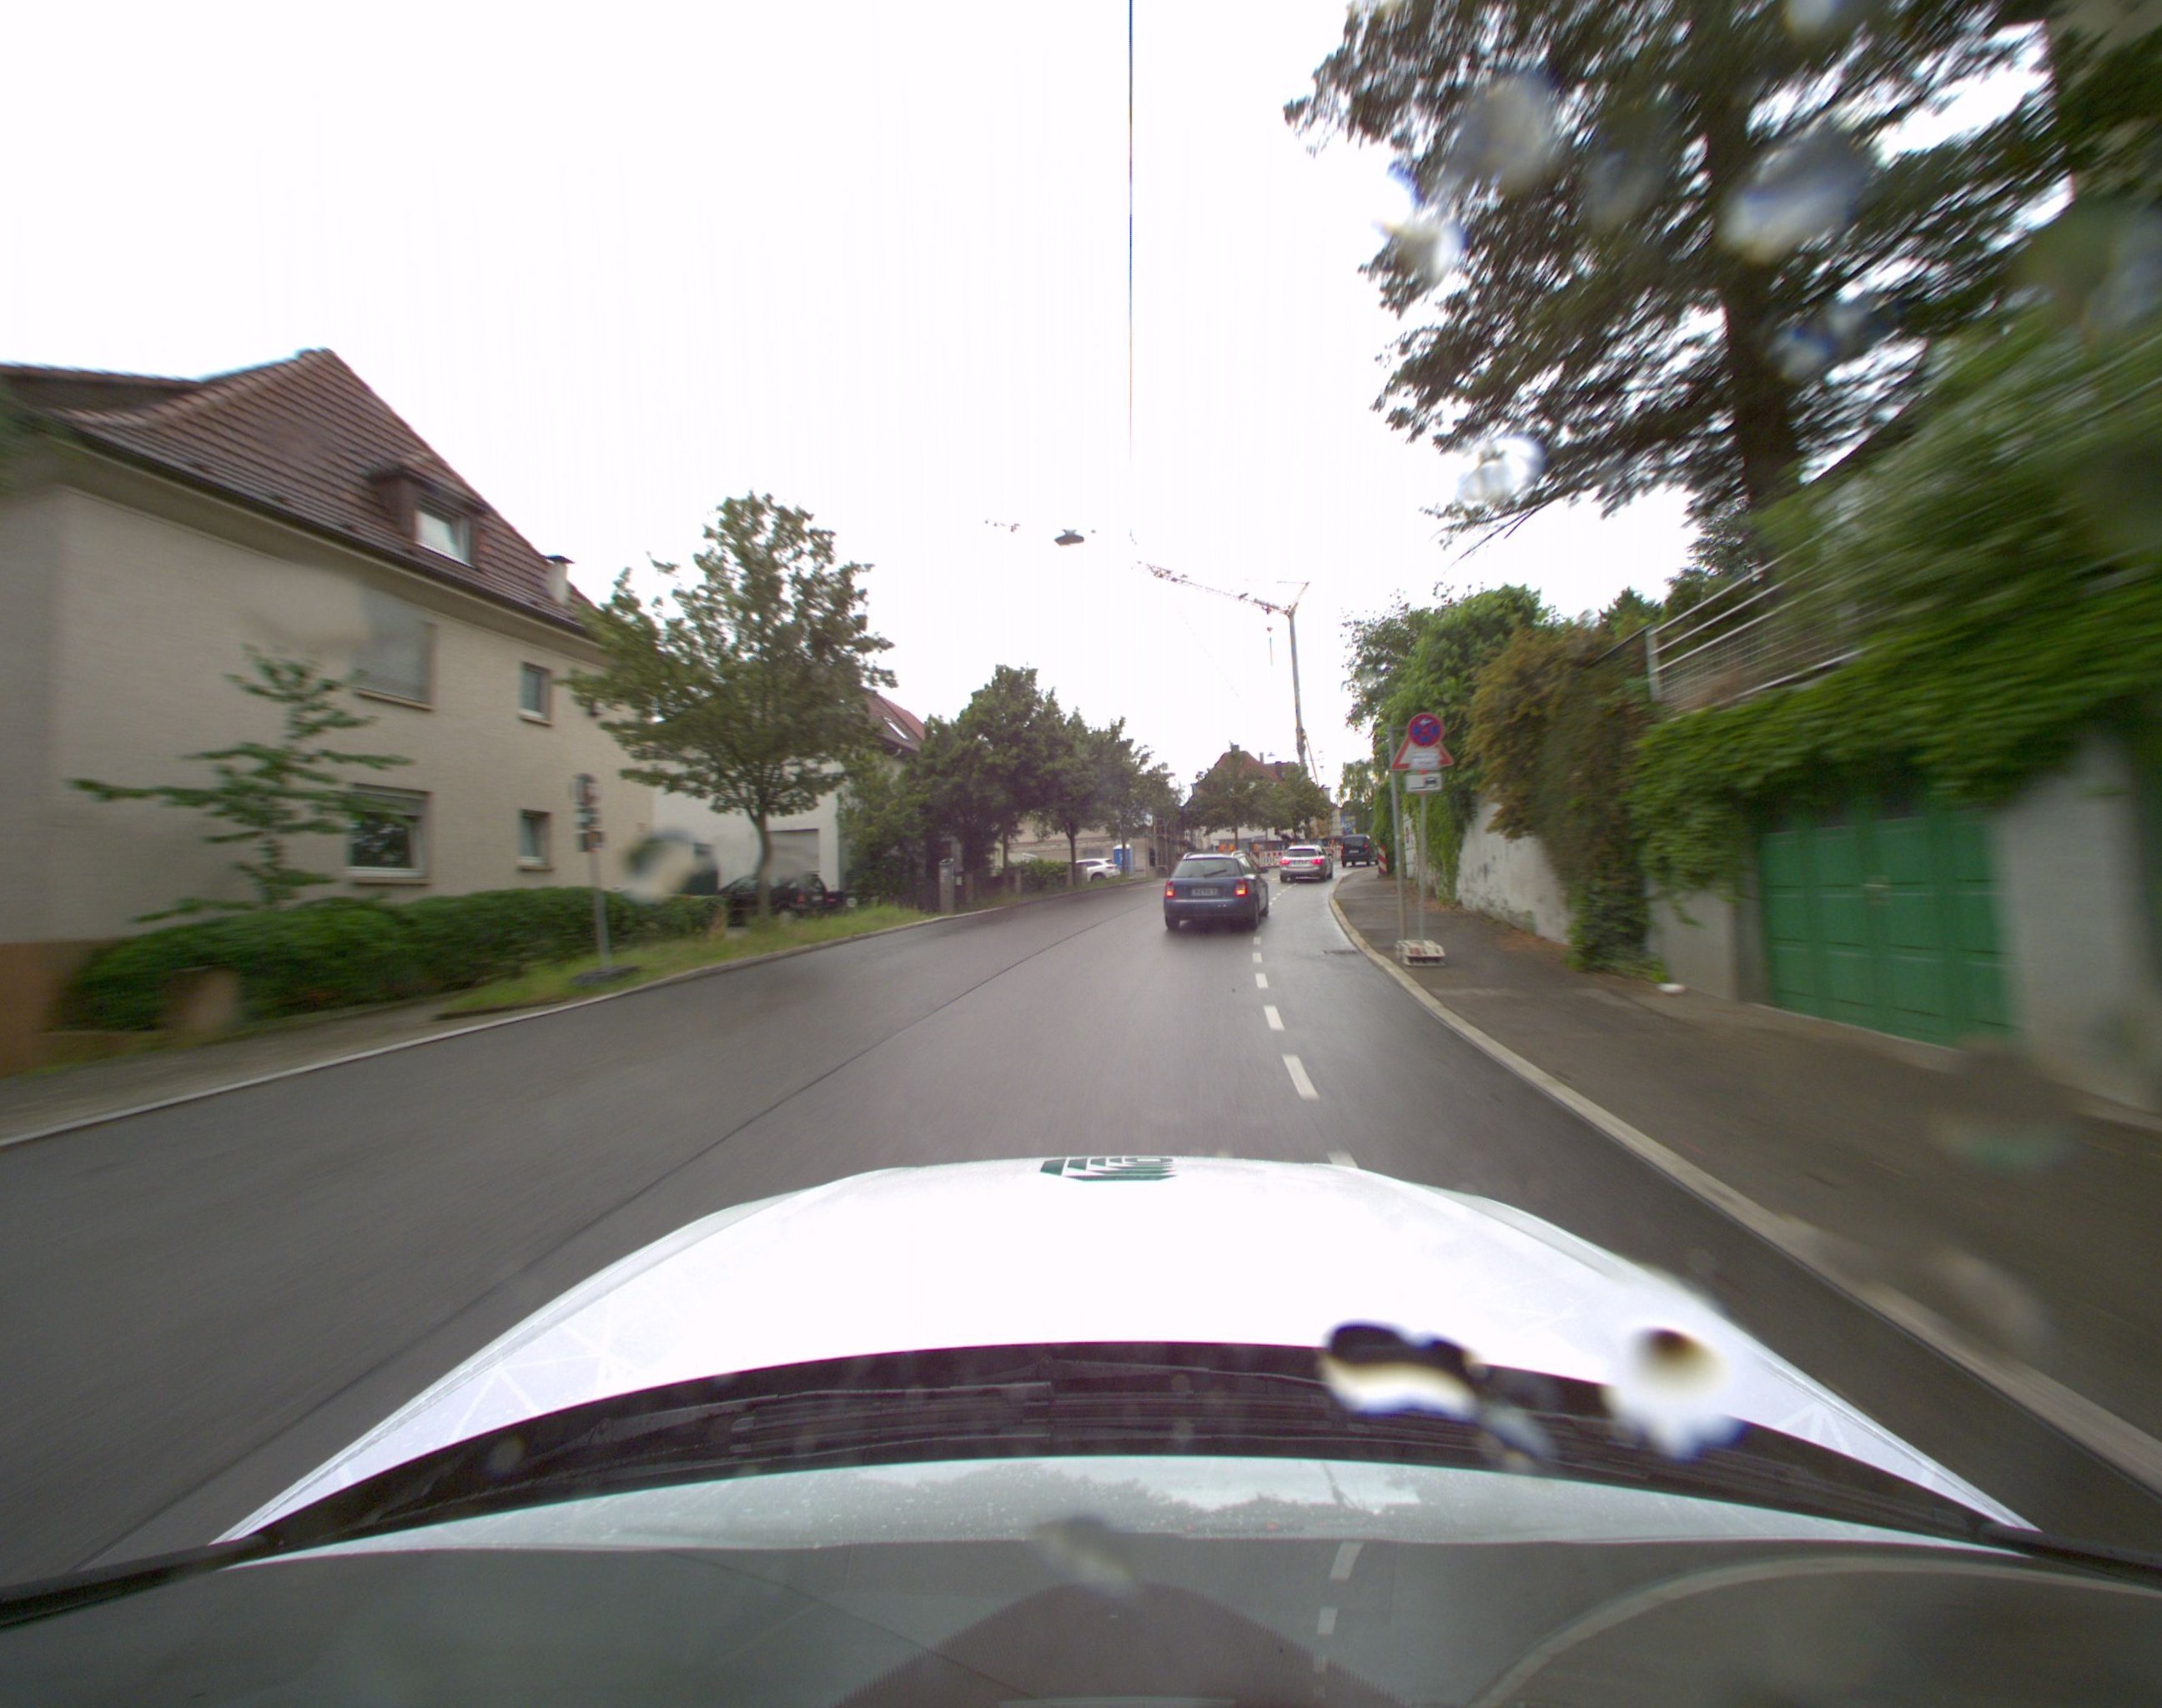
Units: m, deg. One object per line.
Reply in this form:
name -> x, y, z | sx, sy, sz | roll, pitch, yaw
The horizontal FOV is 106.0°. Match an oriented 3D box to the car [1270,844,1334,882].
car -> 9.070, 0.320, 33.189 | 1.892, 1.388, 4.375 | -2, 0, 23

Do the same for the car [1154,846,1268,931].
car -> 2.727, 0.573, 16.343 | 1.764, 1.439, 4.017 | 0, 1, 16

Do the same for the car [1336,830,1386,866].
car -> 16.771, -0.383, 48.673 | 1.713, 1.894, 4.081 | -7, -2, 33
